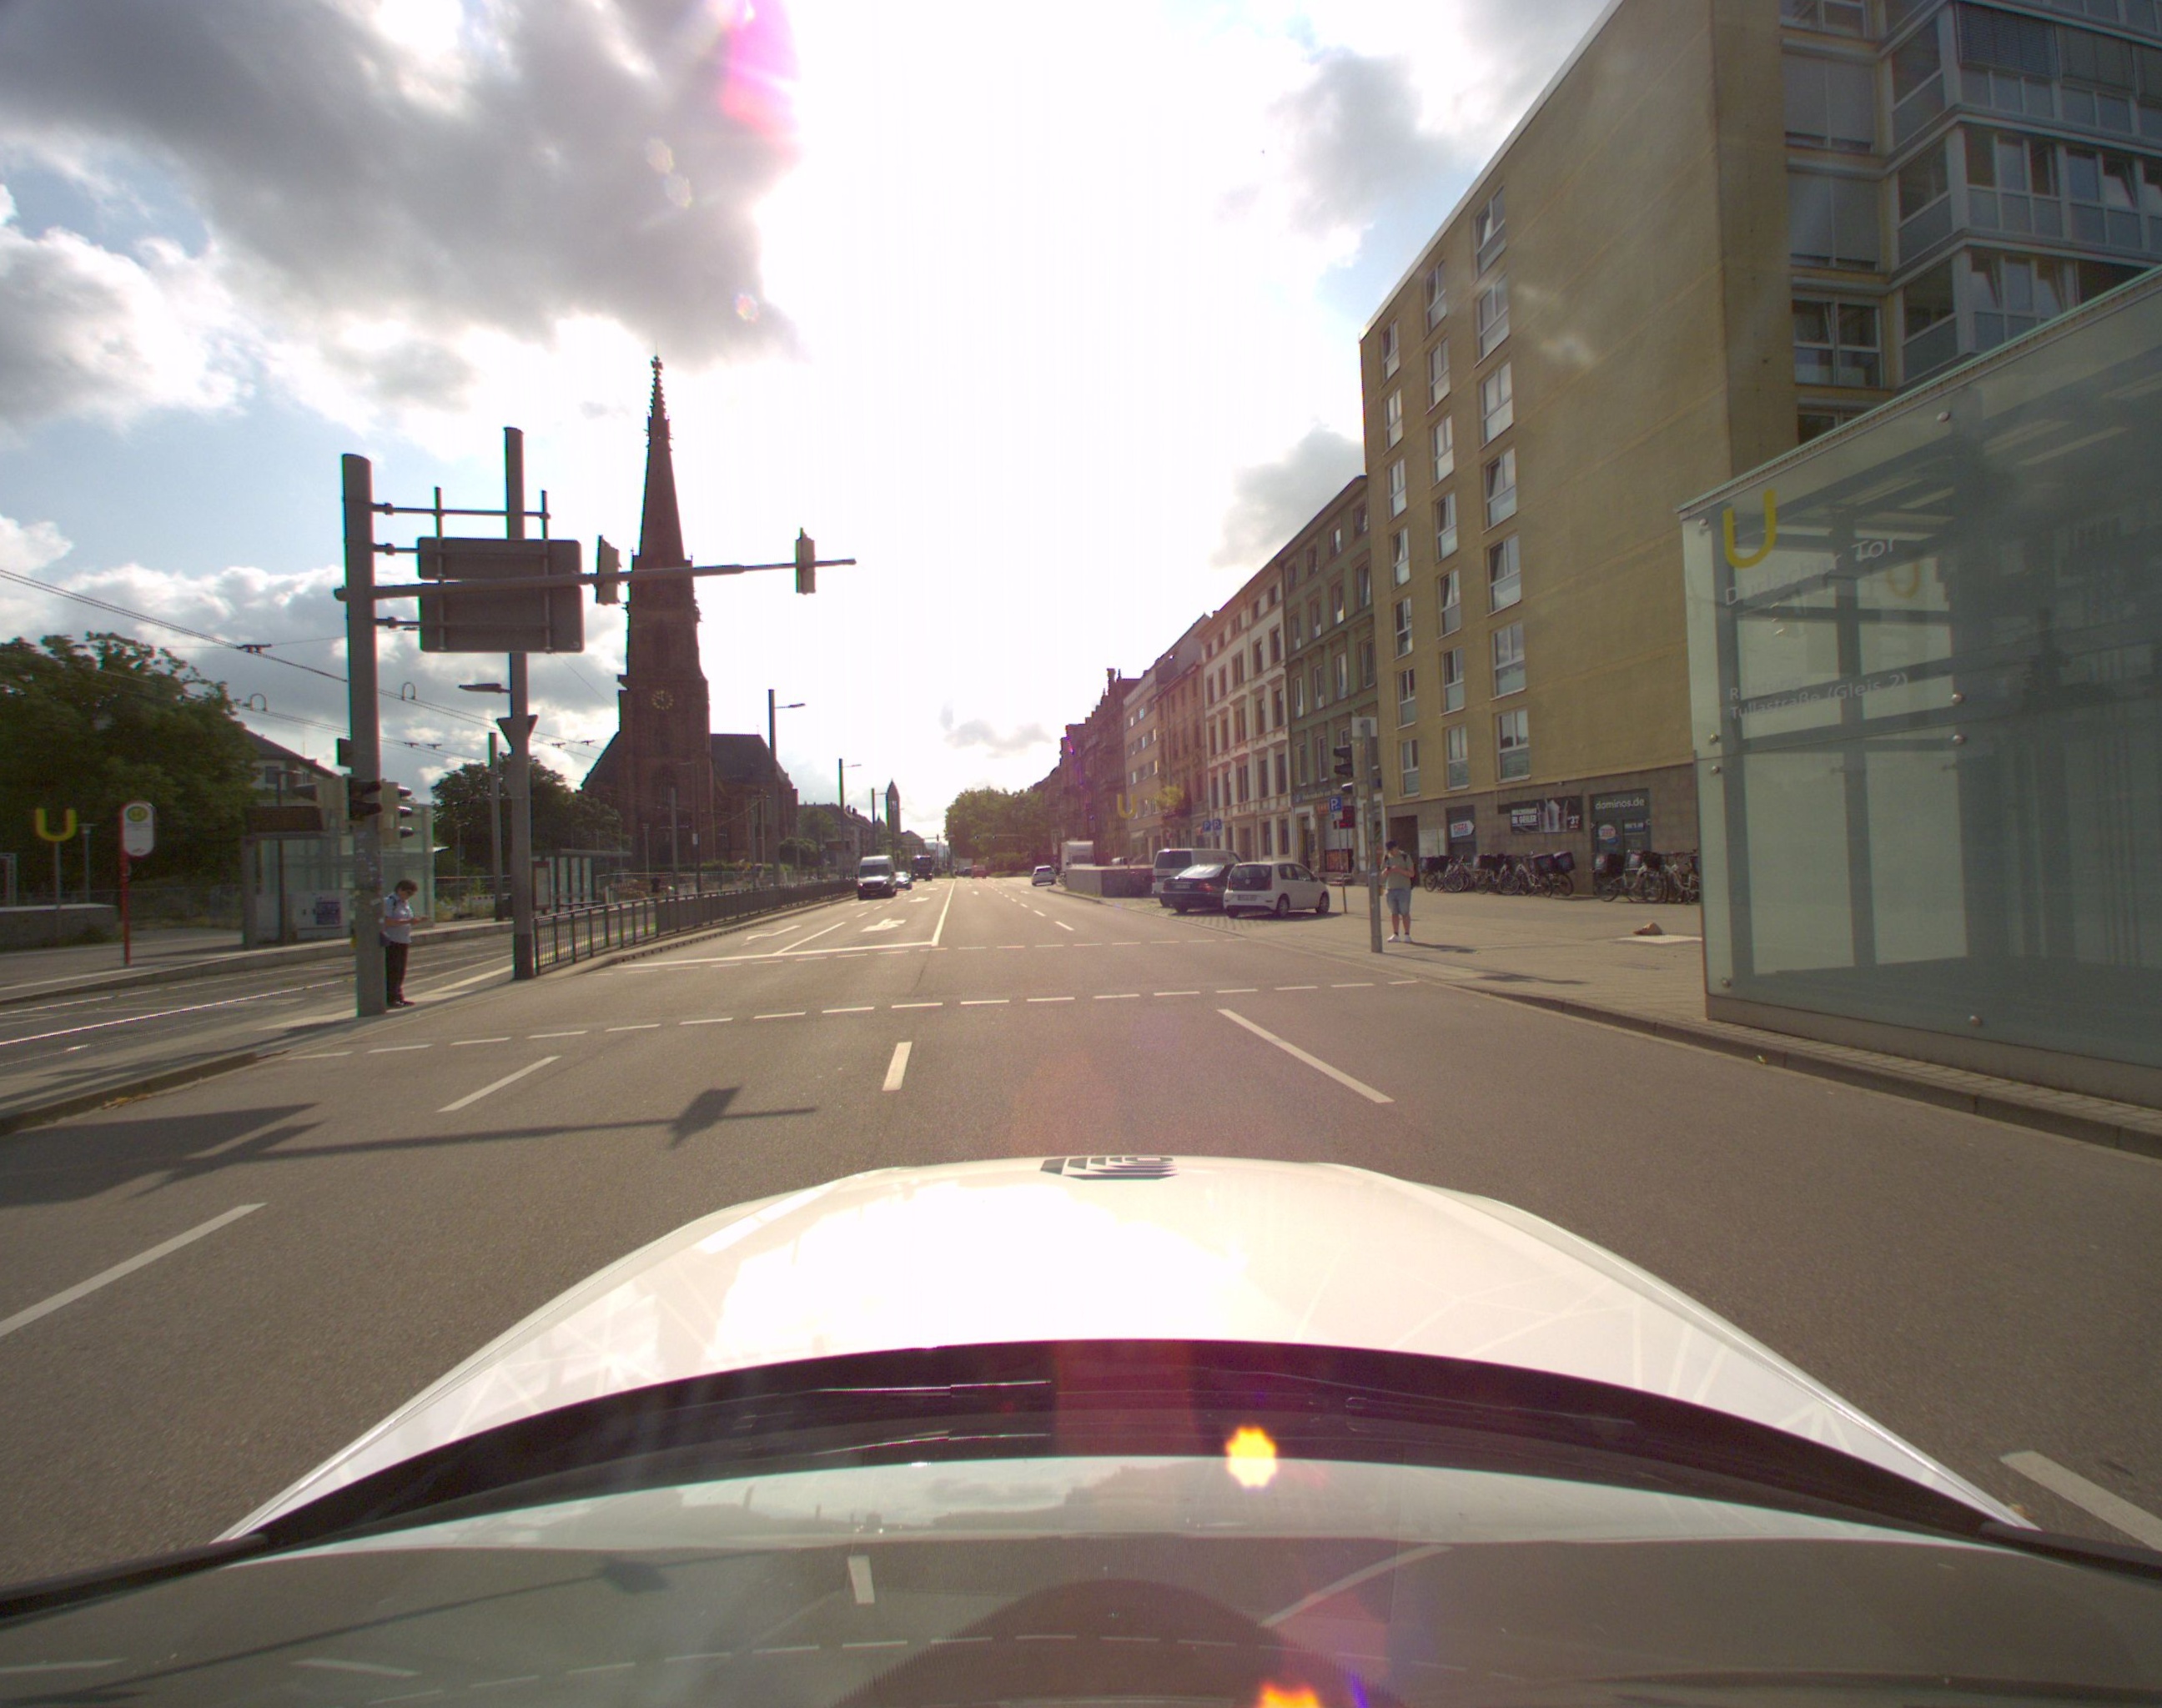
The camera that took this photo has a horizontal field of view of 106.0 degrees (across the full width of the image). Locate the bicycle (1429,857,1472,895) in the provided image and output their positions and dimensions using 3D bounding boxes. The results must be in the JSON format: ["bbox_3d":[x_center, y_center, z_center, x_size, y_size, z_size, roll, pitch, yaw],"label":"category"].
[{"bbox_3d":[12.649,0.735,27.917,0.486,1.201,1.640,-2,1,-9],"label":"bicycle"}]

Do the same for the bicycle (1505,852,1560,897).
[{"bbox_3d":[12.855,0.560,23.240,0.546,1.201,1.643,-2,1,-4],"label":"bicycle"}]

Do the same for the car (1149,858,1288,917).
[{"bbox_3d":[4.326,0.948,24.919,1.866,1.468,5.096,-1,1,39],"label":"car"}]

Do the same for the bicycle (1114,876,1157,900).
[{"bbox_3d":[2.354,1.448,35.261,1.775,1.004,0.510,1,0,-15],"label":"bicycle"}]

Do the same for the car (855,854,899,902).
[{"bbox_3d":[-12.461,1.407,50.103,1.993,2.621,5.563,-3,1,-9],"label":"car"}]

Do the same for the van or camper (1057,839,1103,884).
[{"bbox_3d":[-0.196,0.527,66.408,2.710,3.330,7.621,-2,1,-7],"label":"van or camper"}]

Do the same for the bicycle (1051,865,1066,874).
[{"bbox_3d":[-3.504,2.400,126.506,2.192,1.180,0.681,-2,1,-14],"label":"bicycle"}]

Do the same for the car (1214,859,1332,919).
[{"bbox_3d":[5.269,0.876,22.103,1.697,1.440,3.534,0,0,40],"label":"car"}]

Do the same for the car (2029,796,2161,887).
[{"bbox_3d":[20.027,-0.225,14.057,1.994,1.585,4.376,0,-1,-10],"label":"car"}]

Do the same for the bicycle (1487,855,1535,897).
[{"bbox_3d":[13.201,0.648,25.025,0.485,1.201,1.643,-2,1,-4],"label":"bicycle"}]

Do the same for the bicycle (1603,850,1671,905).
[{"bbox_3d":[13.934,0.563,20.459,0.485,1.272,1.643,-2,1,-4],"label":"bicycle"}]

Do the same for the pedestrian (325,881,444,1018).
[{"bbox_3d":[-9.233,1.231,10.835,0.842,1.673,0.792,-3,1,-11],"label":"pedestrian"}]

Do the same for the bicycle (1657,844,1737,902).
[{"bbox_3d":[14.228,0.406,18.857,0.485,1.272,1.643,-2,1,-4],"label":"bicycle"}]

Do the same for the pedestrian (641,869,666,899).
[{"bbox_3d":[-26.505,1.853,50.545,0.995,1.799,1.046,0,3,-3],"label":"pedestrian"}]

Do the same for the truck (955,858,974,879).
[{"bbox_3d":[-21.032,2.626,146.670,3.170,3.287,7.269,-1,-3,-10],"label":"truck"}]

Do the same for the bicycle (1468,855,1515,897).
[{"bbox_3d":[12.650,0.658,25.141,0.485,1.201,1.643,-2,1,-4],"label":"bicycle"}]

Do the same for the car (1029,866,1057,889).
[{"bbox_3d":[-2.973,1.798,63.244,1.789,1.437,4.333,-6,1,-7],"label":"car"}]

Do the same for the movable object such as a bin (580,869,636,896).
[{"bbox_3d":[-53.175,3.140,91.592,4.901,2.802,1.994,-2,-1,-9],"label":"movable object such as a bin"}]

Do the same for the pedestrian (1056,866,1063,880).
[{"bbox_3d":[-3.211,2.817,120.062,0.885,2.013,0.993,0,0,-9],"label":"pedestrian"}]

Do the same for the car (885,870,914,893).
[{"bbox_3d":[-14.408,2.154,64.896,1.849,1.455,4.543,-3,2,-8],"label":"car"}]

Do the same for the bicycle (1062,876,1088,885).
[{"bbox_3d":[-0.395,1.760,54.070,1.748,0.586,0.642,-1,1,41],"label":"bicycle"}]

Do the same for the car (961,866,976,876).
[{"bbox_3d":[-17.675,2.627,127.812,1.994,1.508,3.986,-2,-1,-10],"label":"car"}]

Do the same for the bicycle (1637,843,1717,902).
[{"bbox_3d":[13.696,0.406,18.770,0.529,1.272,1.643,-2,1,-4],"label":"bicycle"}]

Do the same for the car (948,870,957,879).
[{"bbox_3d":[-25.309,4.071,160.727,1.770,1.662,3.987,0,-3,-8],"label":"car"}]

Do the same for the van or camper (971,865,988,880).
[{"bbox_3d":[-14.545,2.669,116.361,2.011,1.915,4.502,0,-3,-12],"label":"van or camper"}]

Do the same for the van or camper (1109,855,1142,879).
[{"bbox_3d":[4.165,1.197,77.691,1.993,1.904,5.282,-4,1,-9],"label":"van or camper"}]

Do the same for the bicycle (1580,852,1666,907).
[{"bbox_3d":[13.336,0.591,20.091,0.487,1.272,1.879,-2,1,-17],"label":"bicycle"}]

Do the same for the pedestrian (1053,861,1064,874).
[{"bbox_3d":[-2.255,1.332,82.285,0.811,1.316,0.749,0,0,43],"label":"pedestrian"}]

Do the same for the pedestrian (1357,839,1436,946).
[{"bbox_3d":[5.428,0.656,14.037,0.999,1.760,0.778,0,-3,-33],"label":"pedestrian"}]

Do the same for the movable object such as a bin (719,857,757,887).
[{"bbox_3d":[-45.395,2.305,107.931,2.658,3.730,5.592,-2,1,-1],"label":"movable object such as a bin"}]

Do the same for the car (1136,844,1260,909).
[{"bbox_3d":[4.268,0.755,29.102,2.052,2.085,4.930,-4,-2,38],"label":"car"}]

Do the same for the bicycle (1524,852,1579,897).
[{"bbox_3d":[13.415,0.557,23.258,0.485,1.201,1.643,-2,1,-4],"label":"bicycle"}]

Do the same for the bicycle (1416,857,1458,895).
[{"bbox_3d":[12.128,0.732,27.779,0.486,1.201,1.640,-2,1,-9],"label":"bicycle"}]

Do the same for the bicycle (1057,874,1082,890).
[{"bbox_3d":[-0.825,2.000,58.430,1.765,1.085,0.370,-1,2,-21],"label":"bicycle"}]

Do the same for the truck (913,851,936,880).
[{"bbox_3d":[-21.101,1.557,110.006,2.462,3.648,7.428,-2,-1,-8],"label":"truck"}]
